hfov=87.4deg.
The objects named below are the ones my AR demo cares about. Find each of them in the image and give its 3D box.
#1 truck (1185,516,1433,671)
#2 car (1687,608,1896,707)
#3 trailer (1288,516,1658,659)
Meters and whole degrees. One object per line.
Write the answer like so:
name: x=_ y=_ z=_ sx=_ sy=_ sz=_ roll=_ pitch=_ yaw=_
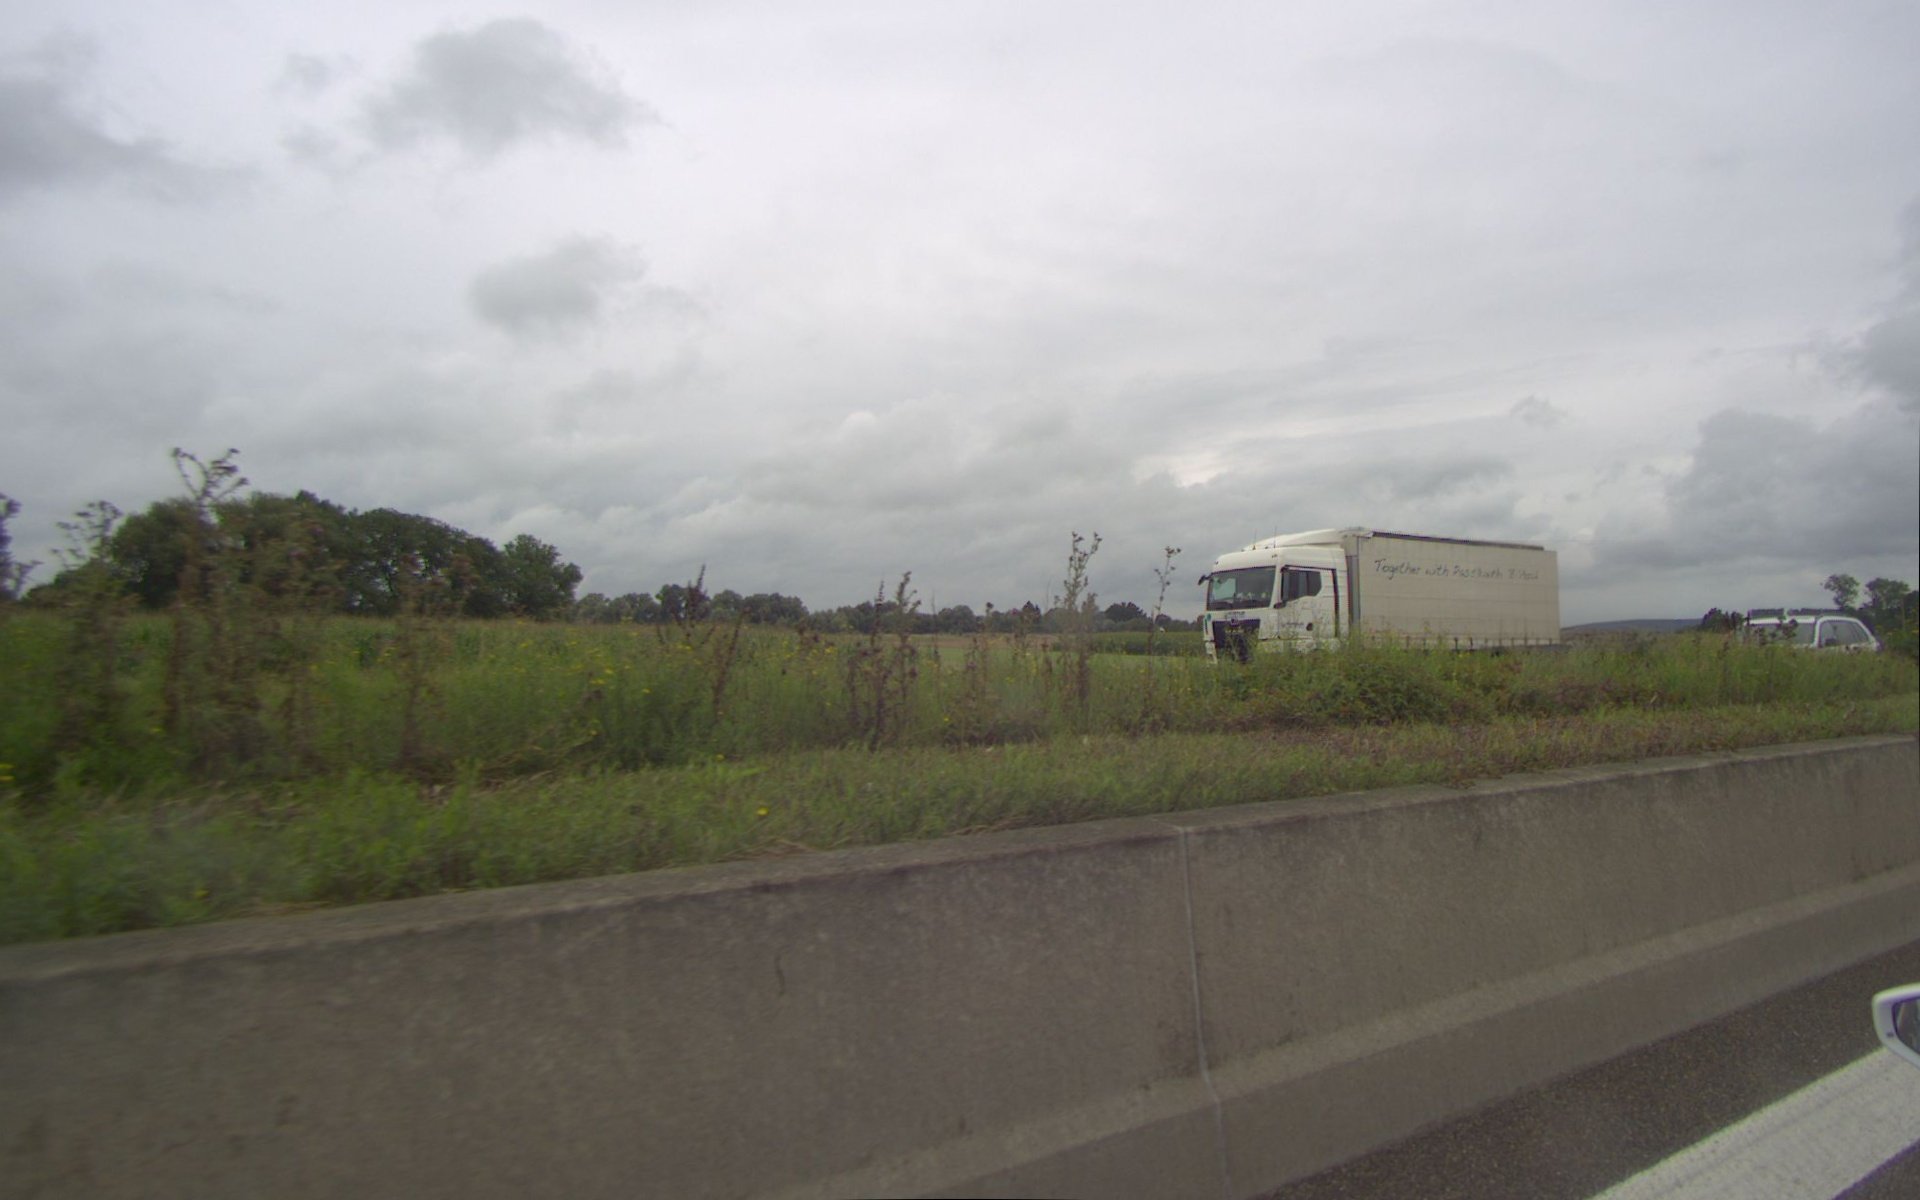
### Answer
truck: x=8.776 y=-0.078 z=25.182 sx=5.564 sy=3.474 sz=2.954 roll=2 pitch=0 yaw=-31
car: x=17.218 y=1.150 z=20.751 sx=4.744 sy=1.862 sz=1.811 roll=1 pitch=-2 yaw=-30
trailer: x=15.161 y=-0.123 z=28.951 sx=13.088 sy=3.474 sz=2.900 roll=2 pitch=0 yaw=-31
